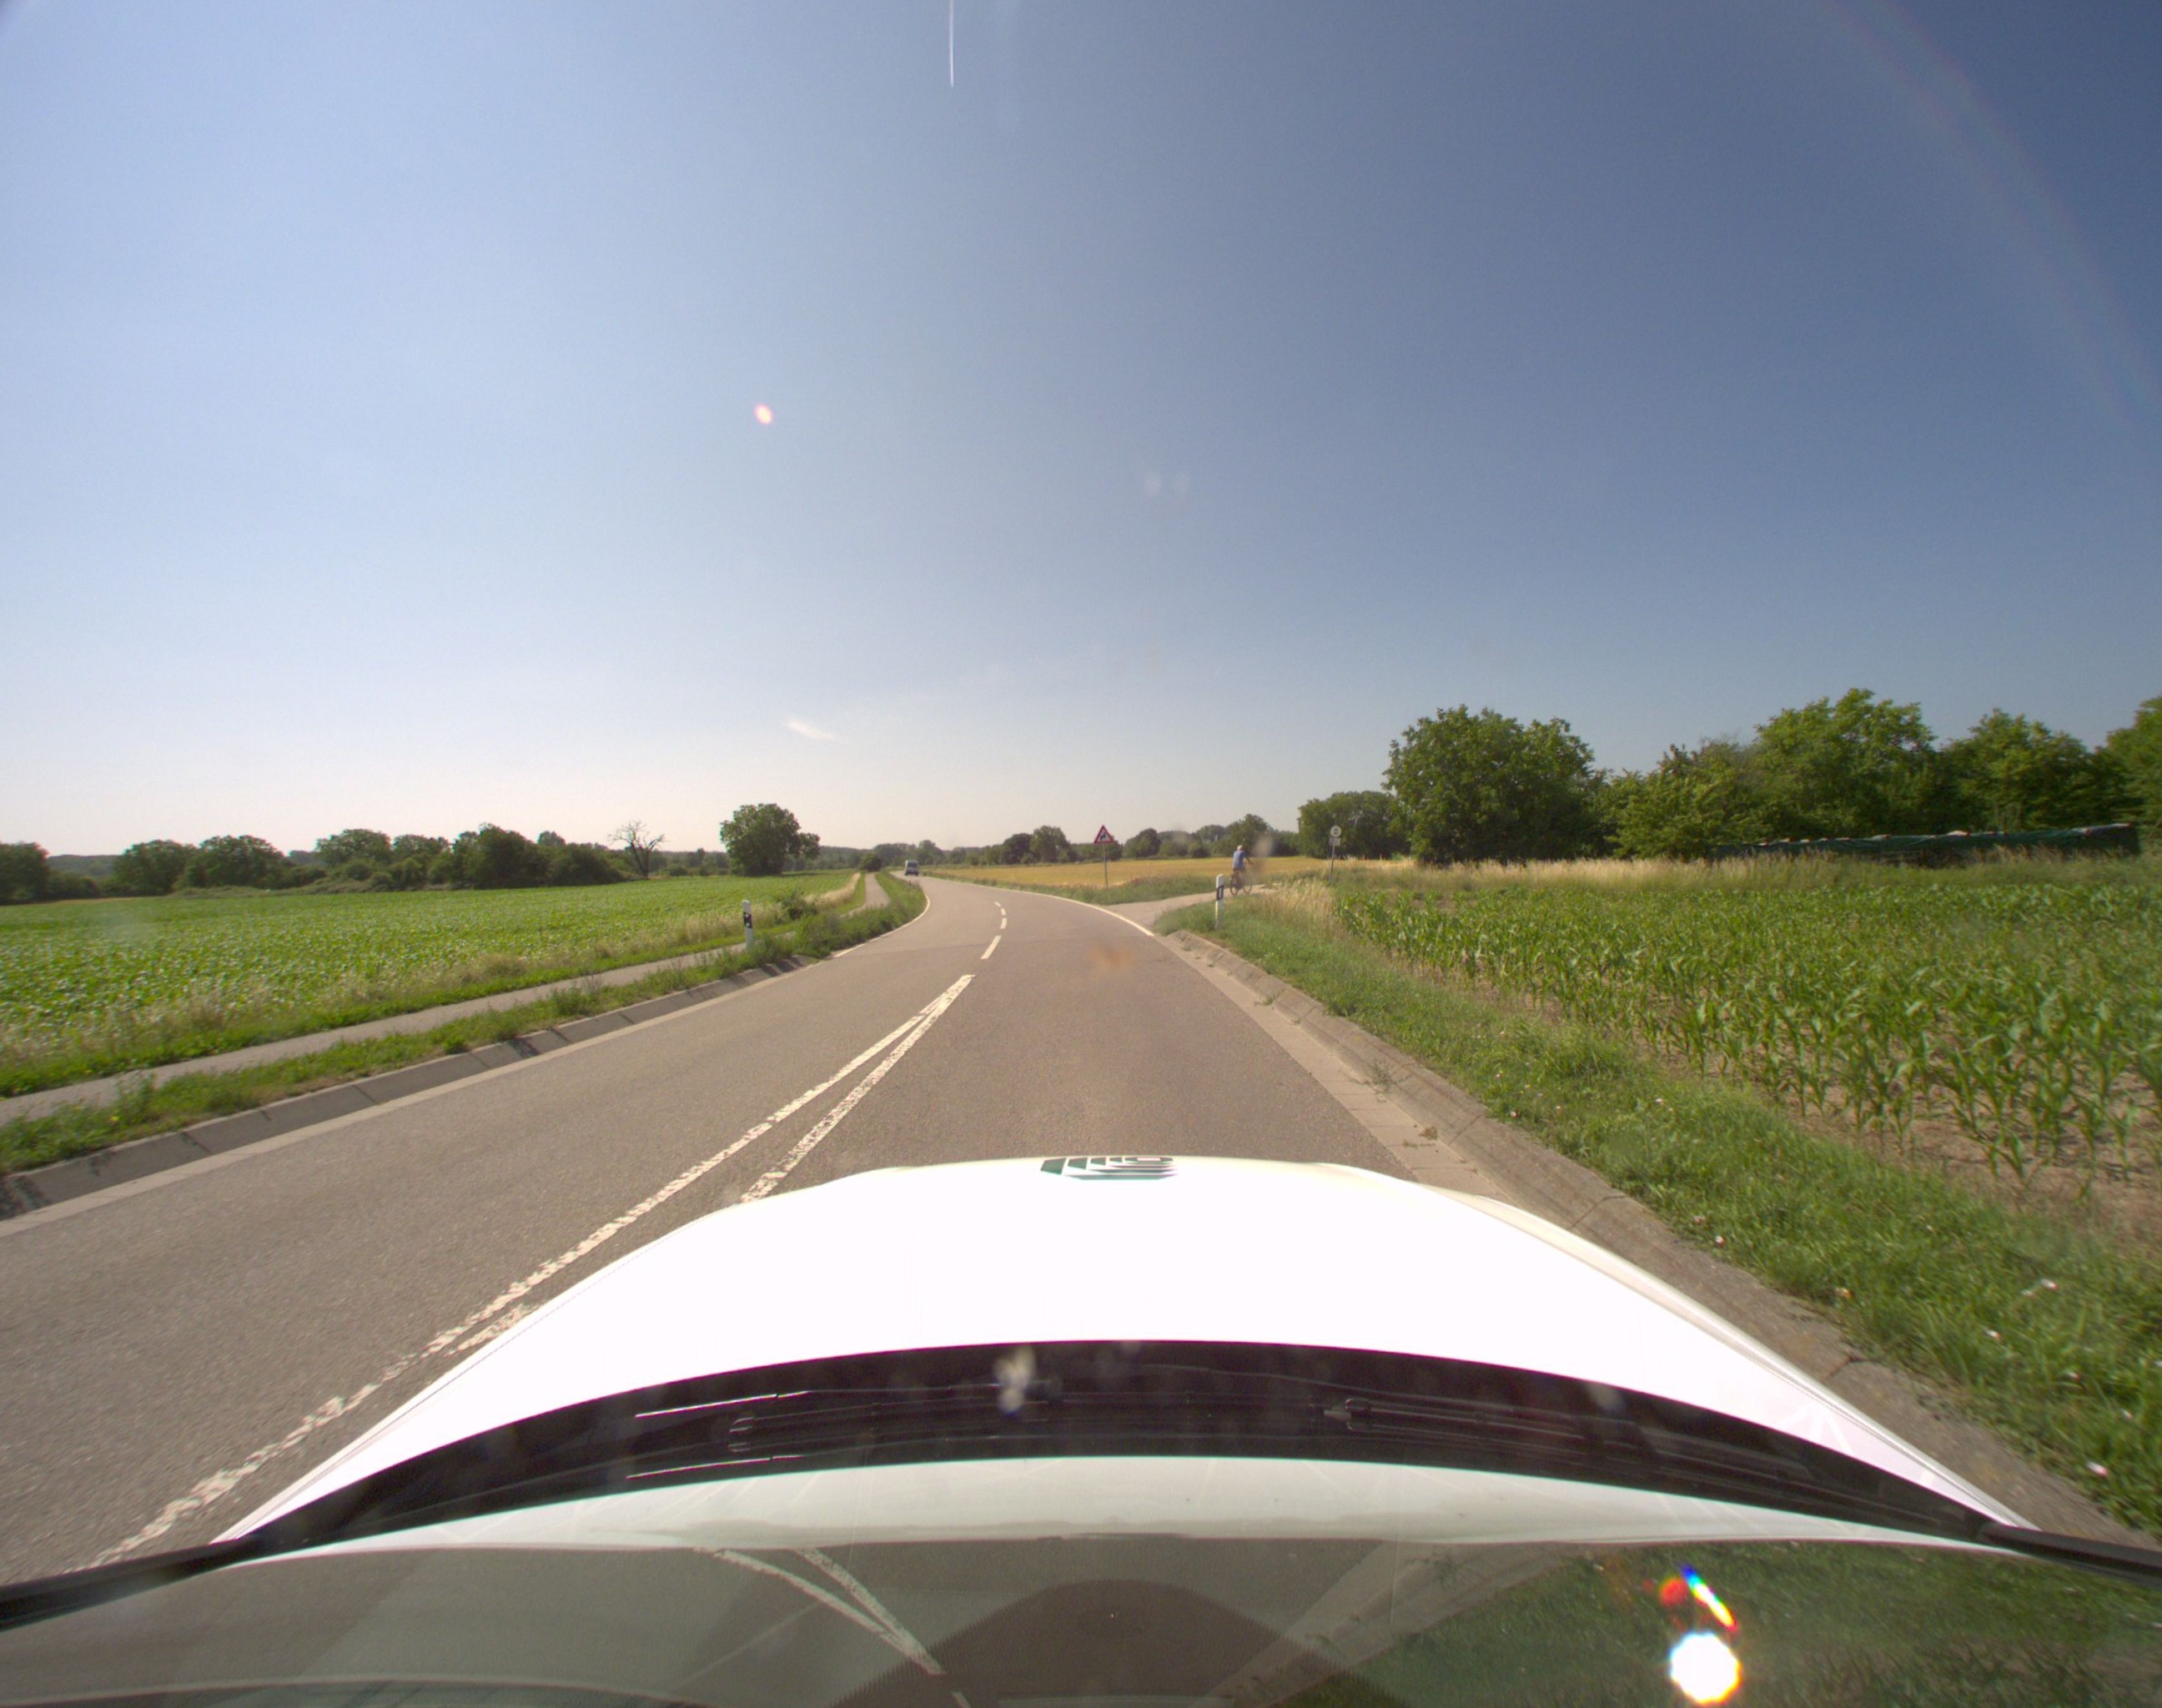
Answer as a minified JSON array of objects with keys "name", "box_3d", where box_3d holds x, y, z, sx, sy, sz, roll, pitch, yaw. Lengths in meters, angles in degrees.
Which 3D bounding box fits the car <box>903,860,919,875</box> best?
[{"name":"car","box_3d":[-27.602,2.168,132.138,2.108,2.367,5.657,-2,0,-15]}]

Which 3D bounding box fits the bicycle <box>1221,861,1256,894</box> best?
[{"name":"bicycle","box_3d":[5.634,0.817,29.028,0.515,1.116,1.780,-3,-1,34]}]

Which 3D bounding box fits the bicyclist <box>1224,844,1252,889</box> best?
[{"name":"bicyclist","box_3d":[5.595,0.432,28.998,0.666,1.574,0.740,-3,-1,34]}]
